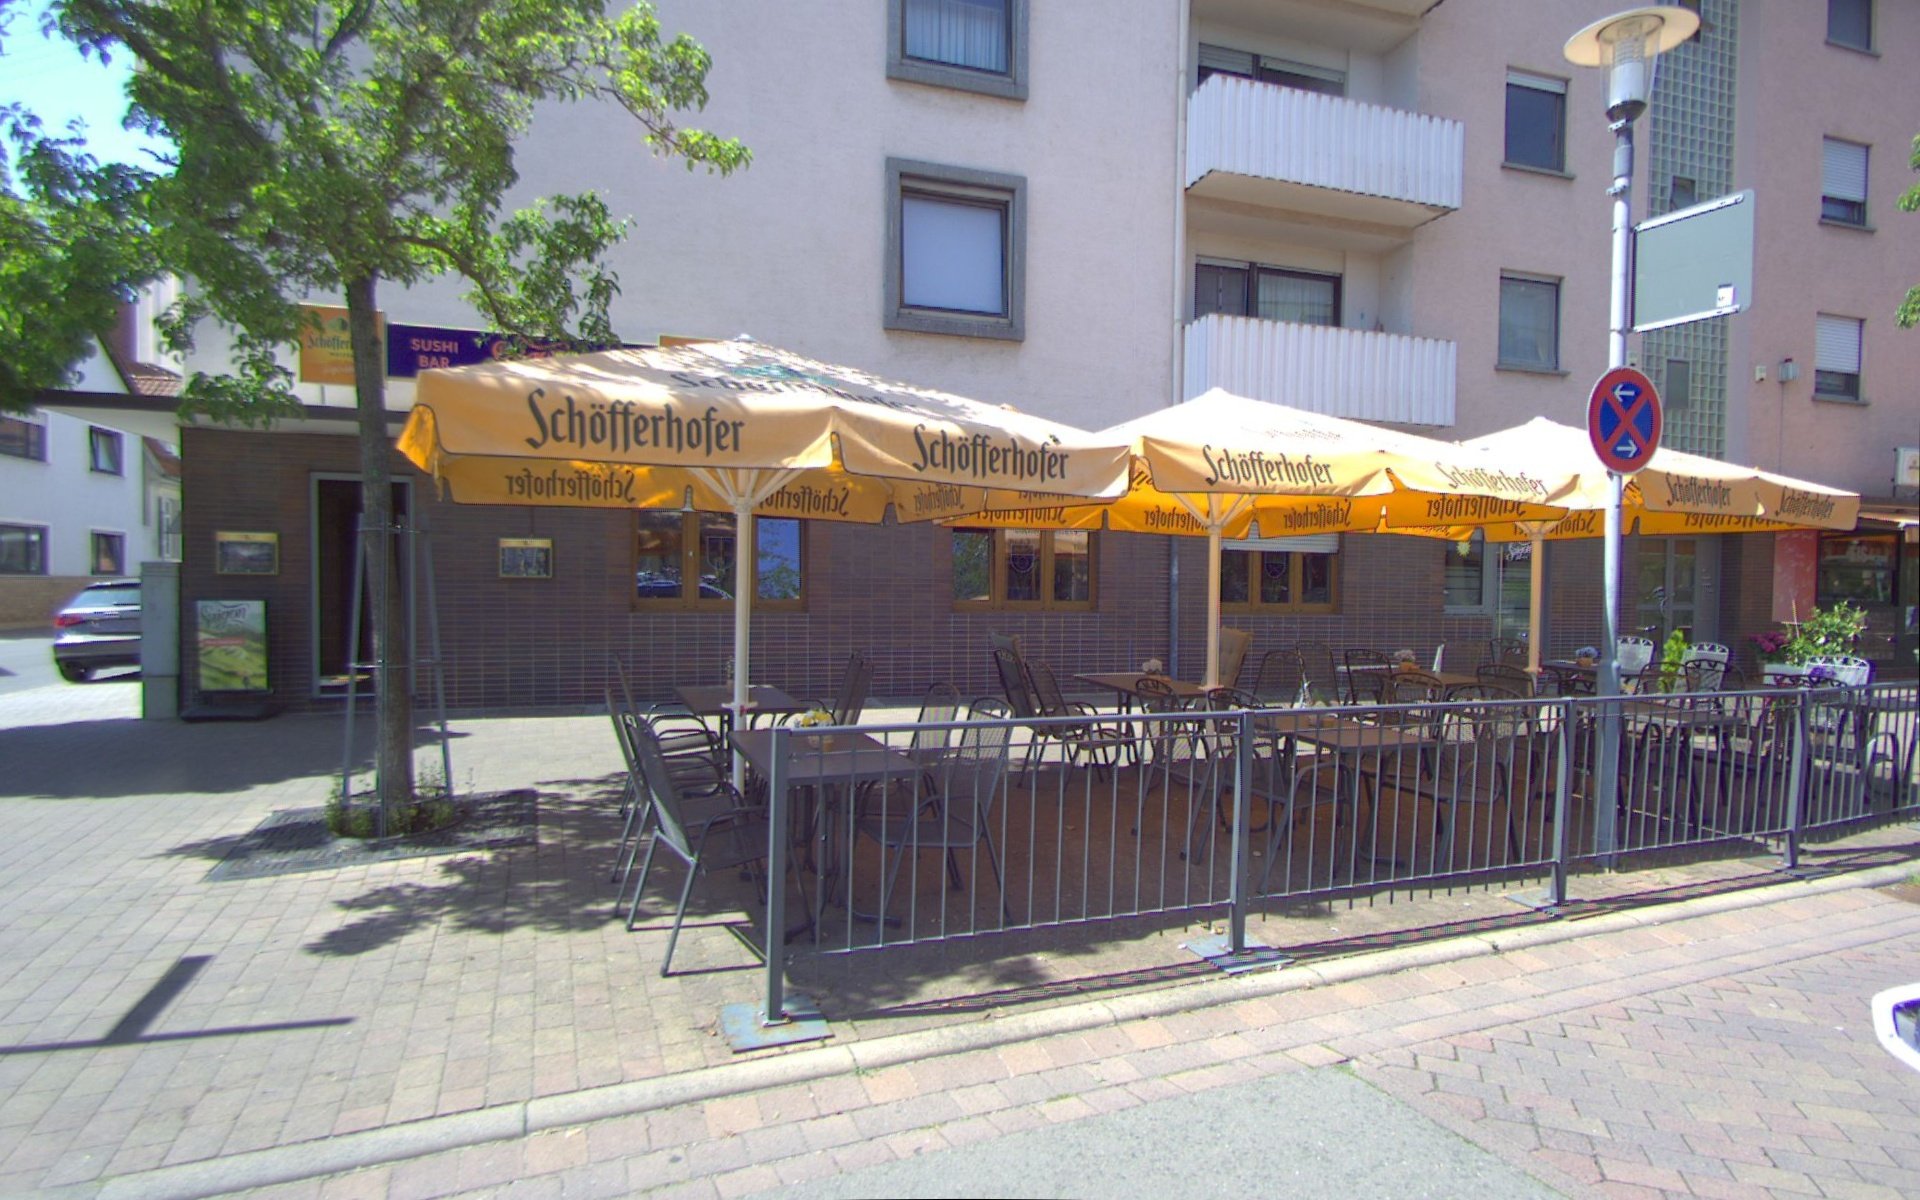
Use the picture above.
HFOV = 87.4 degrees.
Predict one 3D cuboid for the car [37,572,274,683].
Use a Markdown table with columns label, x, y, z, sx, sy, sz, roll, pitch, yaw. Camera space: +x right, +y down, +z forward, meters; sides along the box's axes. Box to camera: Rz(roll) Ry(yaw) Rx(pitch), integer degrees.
| label | x | y | z | sx | sy | sz | roll | pitch | yaw |
| --- | --- | --- | --- | --- | --- | --- | --- | --- | --- |
| car | -11.969 | 0.334 | 15.229 | 1.555 | 1.473 | 3.473 | 0 | 1 | -16 |
